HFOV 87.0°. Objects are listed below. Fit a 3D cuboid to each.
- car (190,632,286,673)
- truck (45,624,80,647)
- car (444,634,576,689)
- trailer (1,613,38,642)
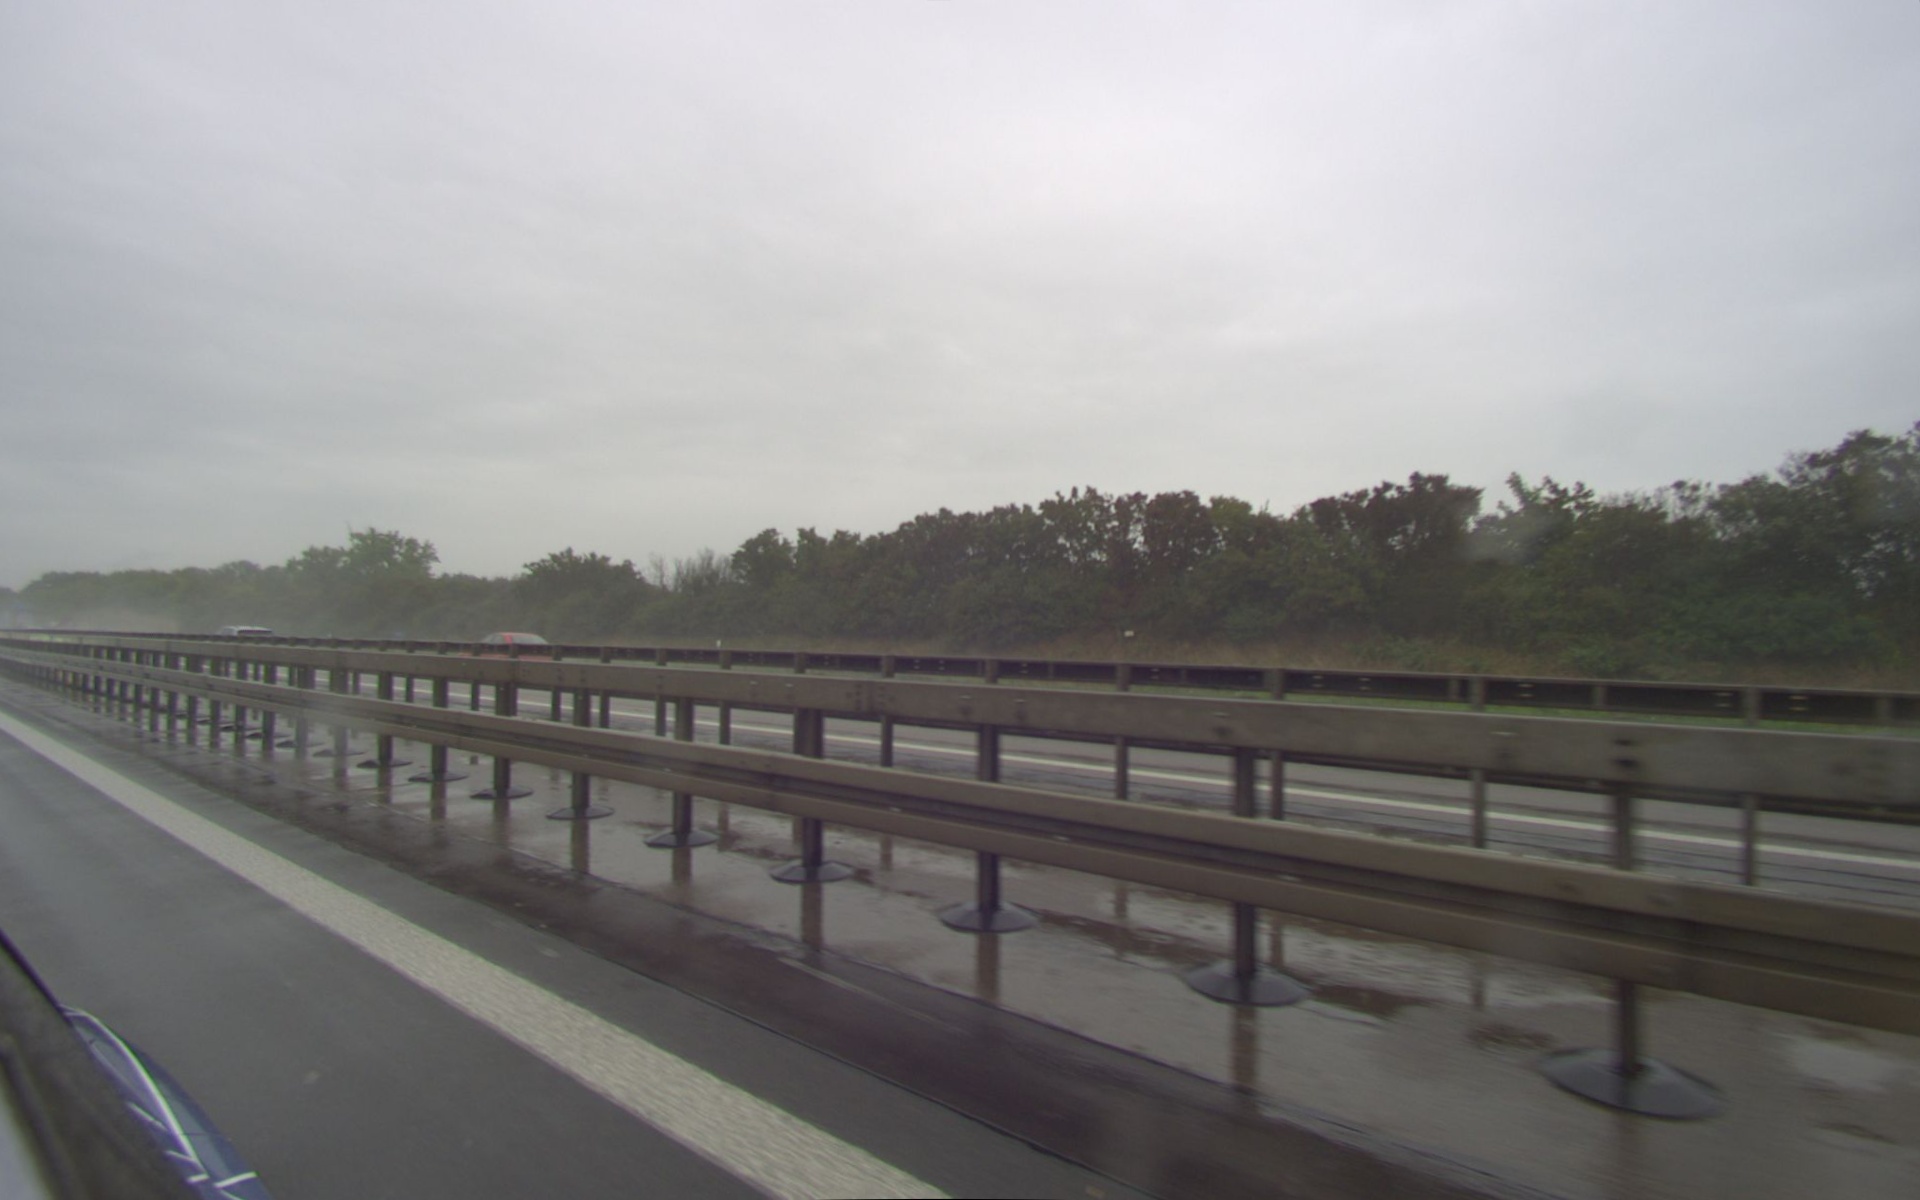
[{"bbox_3d":[-27.715,1.988,38.812,4.645,1.445,1.973,-2,-1,41],"label":"car"},{"bbox_3d":[-104.416,4.113,117.719,6.260,2.639,2.303,-2,-1,41],"label":"truck"},{"bbox_3d":[-14.044,1.846,31.448,4.645,1.524,1.973,-2,-1,41],"label":"car"},{"bbox_3d":[-130.955,3.824,140.836,13.579,3.833,2.606,-2,-1,42],"label":"trailer"}]
